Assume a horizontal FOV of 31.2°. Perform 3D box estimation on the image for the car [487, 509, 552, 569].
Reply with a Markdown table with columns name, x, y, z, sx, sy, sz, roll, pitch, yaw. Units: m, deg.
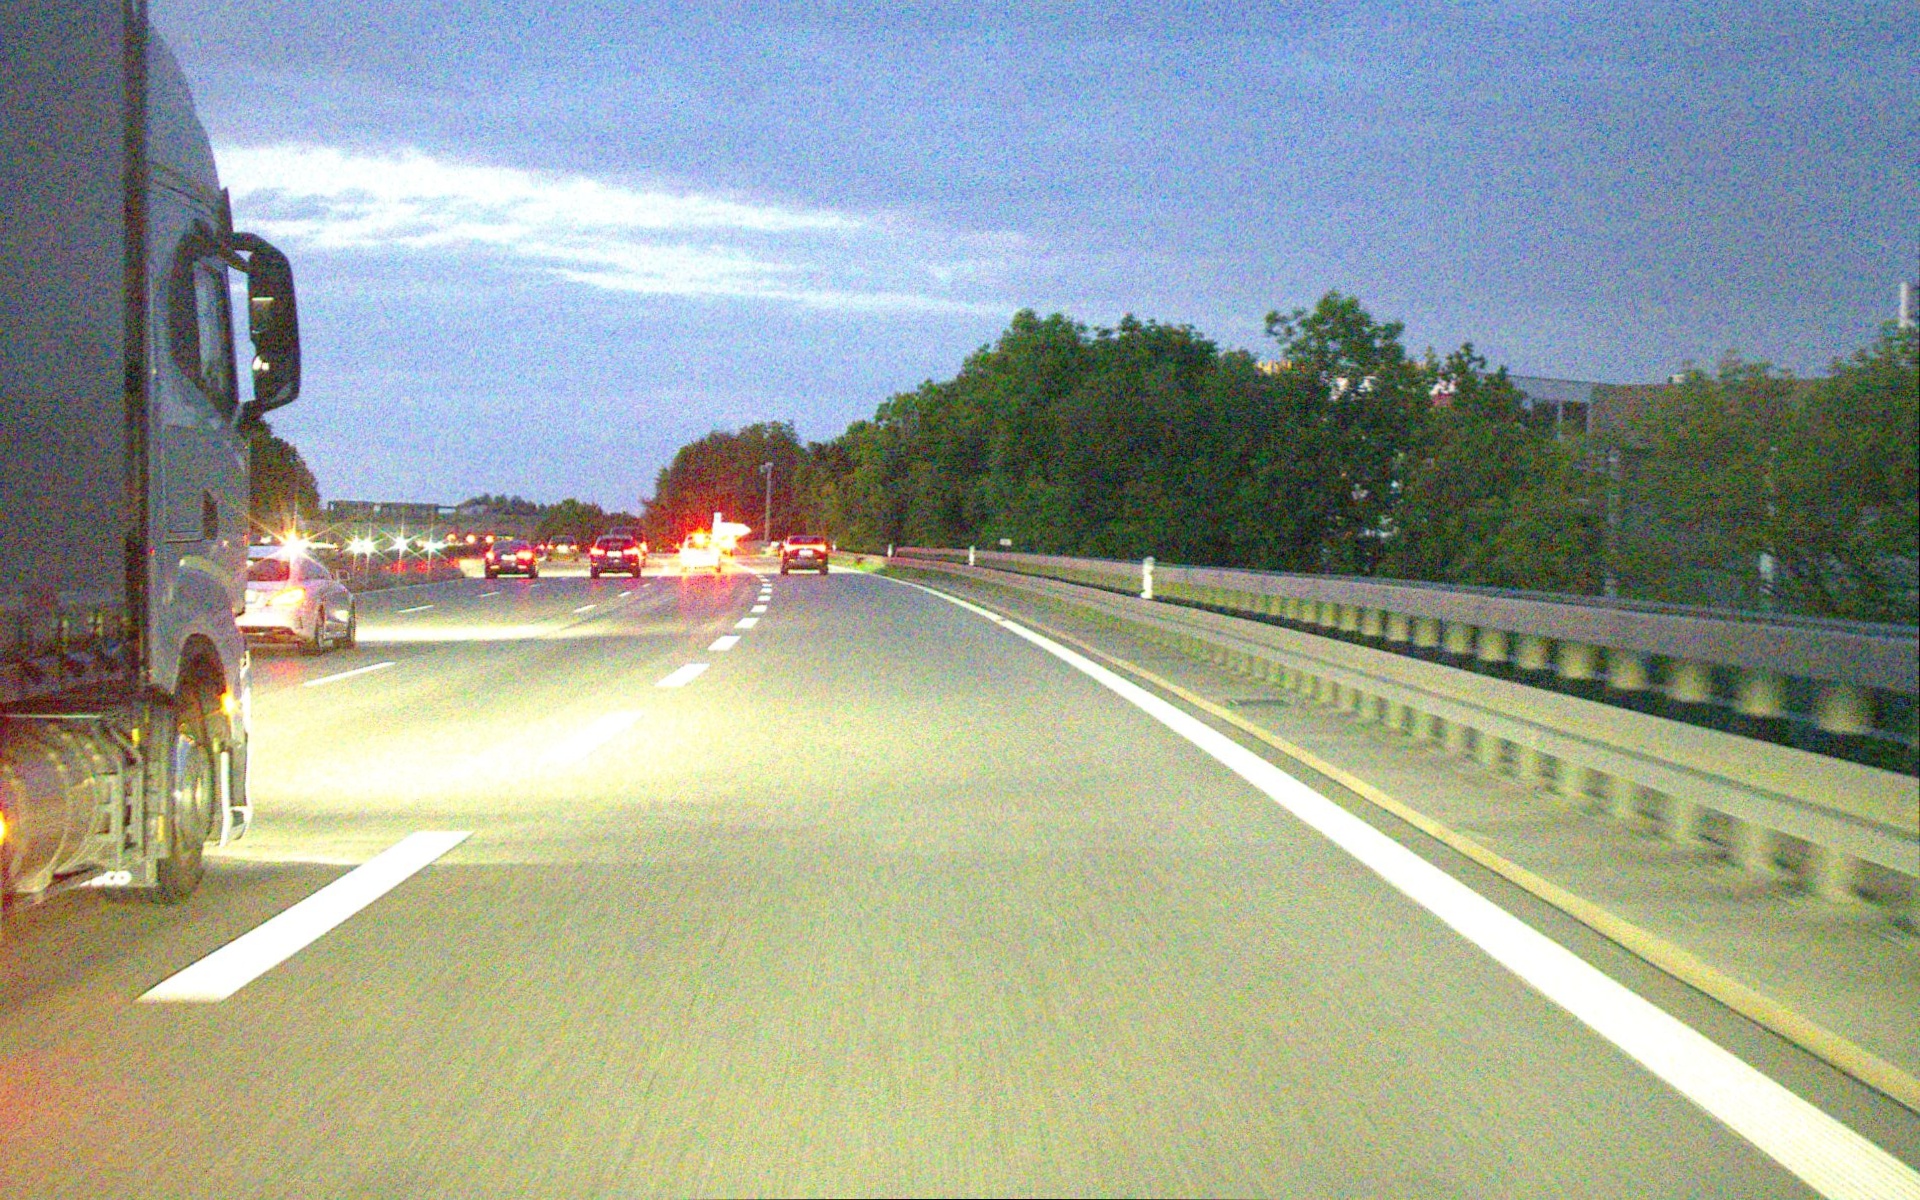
| name | x | y | z | sx | sy | sz | roll | pitch | yaw |
| --- | --- | --- | --- | --- | --- | --- | --- | --- | --- |
| car | -16.530 | -2.278 | 129.079 | 1.993 | 2.040 | 4.000 | 2 | -2 | -2 |

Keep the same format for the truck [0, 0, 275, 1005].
| name | x | y | z | sx | sy | sz | roll | pitch | yaw |
| --- | --- | --- | --- | --- | --- | --- | --- | --- | --- |
| truck | -4.918 | -0.785 | 13.113 | 3.550 | 4.077 | 6.152 | 0 | 1 | -2 |

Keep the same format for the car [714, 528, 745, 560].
| name | x | y | z | sx | sy | sz | roll | pitch | yaw |
| --- | --- | --- | --- | --- | --- | --- | --- | --- | --- |
| car | -16.528 | -4.007 | 246.379 | 1.993 | 2.007 | 4.000 | 2 | -2 | -2 |

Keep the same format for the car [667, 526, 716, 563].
| name | x | y | z | sx | sy | sz | roll | pitch | yaw |
| --- | --- | --- | --- | --- | --- | --- | --- | --- | --- |
| car | -11.533 | -2.380 | 148.011 | 1.884 | 1.349 | 4.000 | 2 | -2 | -2 |

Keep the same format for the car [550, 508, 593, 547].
| name | x | y | z | sx | sy | sz | roll | pitch | yaw |
| --- | --- | --- | --- | --- | --- | --- | --- | --- | --- |
| car | -22.206 | -4.144 | 196.687 | 1.993 | 2.007 | 4.000 | 2 | -2 | -1 |

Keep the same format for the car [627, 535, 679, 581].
| name | x | y | z | sx | sy | sz | roll | pitch | yaw |
| --- | --- | --- | --- | --- | --- | --- | --- | --- | --- |
| car | -14.989 | -2.029 | 167.989 | 1.993 | 2.007 | 3.999 | 1 | -2 | 1 |

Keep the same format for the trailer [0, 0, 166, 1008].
| name | x | y | z | sx | sy | sz | roll | pitch | yaw |
| --- | --- | --- | --- | --- | --- | --- | --- | --- | --- |
| trailer | -4.695 | -0.645 | 6.130 | 3.550 | 4.102 | 15.065 | 0 | 1 | -2 |

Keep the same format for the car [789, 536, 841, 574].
| name | x | y | z | sx | sy | sz | roll | pitch | yaw |
| --- | --- | --- | --- | --- | --- | --- | --- | --- | --- |
| car | -5.873 | -1.808 | 139.599 | 1.993 | 1.349 | 4.000 | 2 | -2 | -2 |

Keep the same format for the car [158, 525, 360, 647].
| name | x | y | z | sx | sy | sz | roll | pitch | yaw |
| --- | --- | --- | --- | --- | --- | --- | --- | --- | --- |
| car | -9.252 | -0.196 | 45.669 | 1.899 | 1.489 | 4.151 | 2 | 0 | -2 |

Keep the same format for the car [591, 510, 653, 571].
| name | x | y | z | sx | sy | sz | roll | pitch | yaw |
| --- | --- | --- | --- | --- | --- | --- | --- | --- | --- |
| car | -12.667 | -2.222 | 128.913 | 1.993 | 2.073 | 4.000 | 2 | -2 | -2 |
